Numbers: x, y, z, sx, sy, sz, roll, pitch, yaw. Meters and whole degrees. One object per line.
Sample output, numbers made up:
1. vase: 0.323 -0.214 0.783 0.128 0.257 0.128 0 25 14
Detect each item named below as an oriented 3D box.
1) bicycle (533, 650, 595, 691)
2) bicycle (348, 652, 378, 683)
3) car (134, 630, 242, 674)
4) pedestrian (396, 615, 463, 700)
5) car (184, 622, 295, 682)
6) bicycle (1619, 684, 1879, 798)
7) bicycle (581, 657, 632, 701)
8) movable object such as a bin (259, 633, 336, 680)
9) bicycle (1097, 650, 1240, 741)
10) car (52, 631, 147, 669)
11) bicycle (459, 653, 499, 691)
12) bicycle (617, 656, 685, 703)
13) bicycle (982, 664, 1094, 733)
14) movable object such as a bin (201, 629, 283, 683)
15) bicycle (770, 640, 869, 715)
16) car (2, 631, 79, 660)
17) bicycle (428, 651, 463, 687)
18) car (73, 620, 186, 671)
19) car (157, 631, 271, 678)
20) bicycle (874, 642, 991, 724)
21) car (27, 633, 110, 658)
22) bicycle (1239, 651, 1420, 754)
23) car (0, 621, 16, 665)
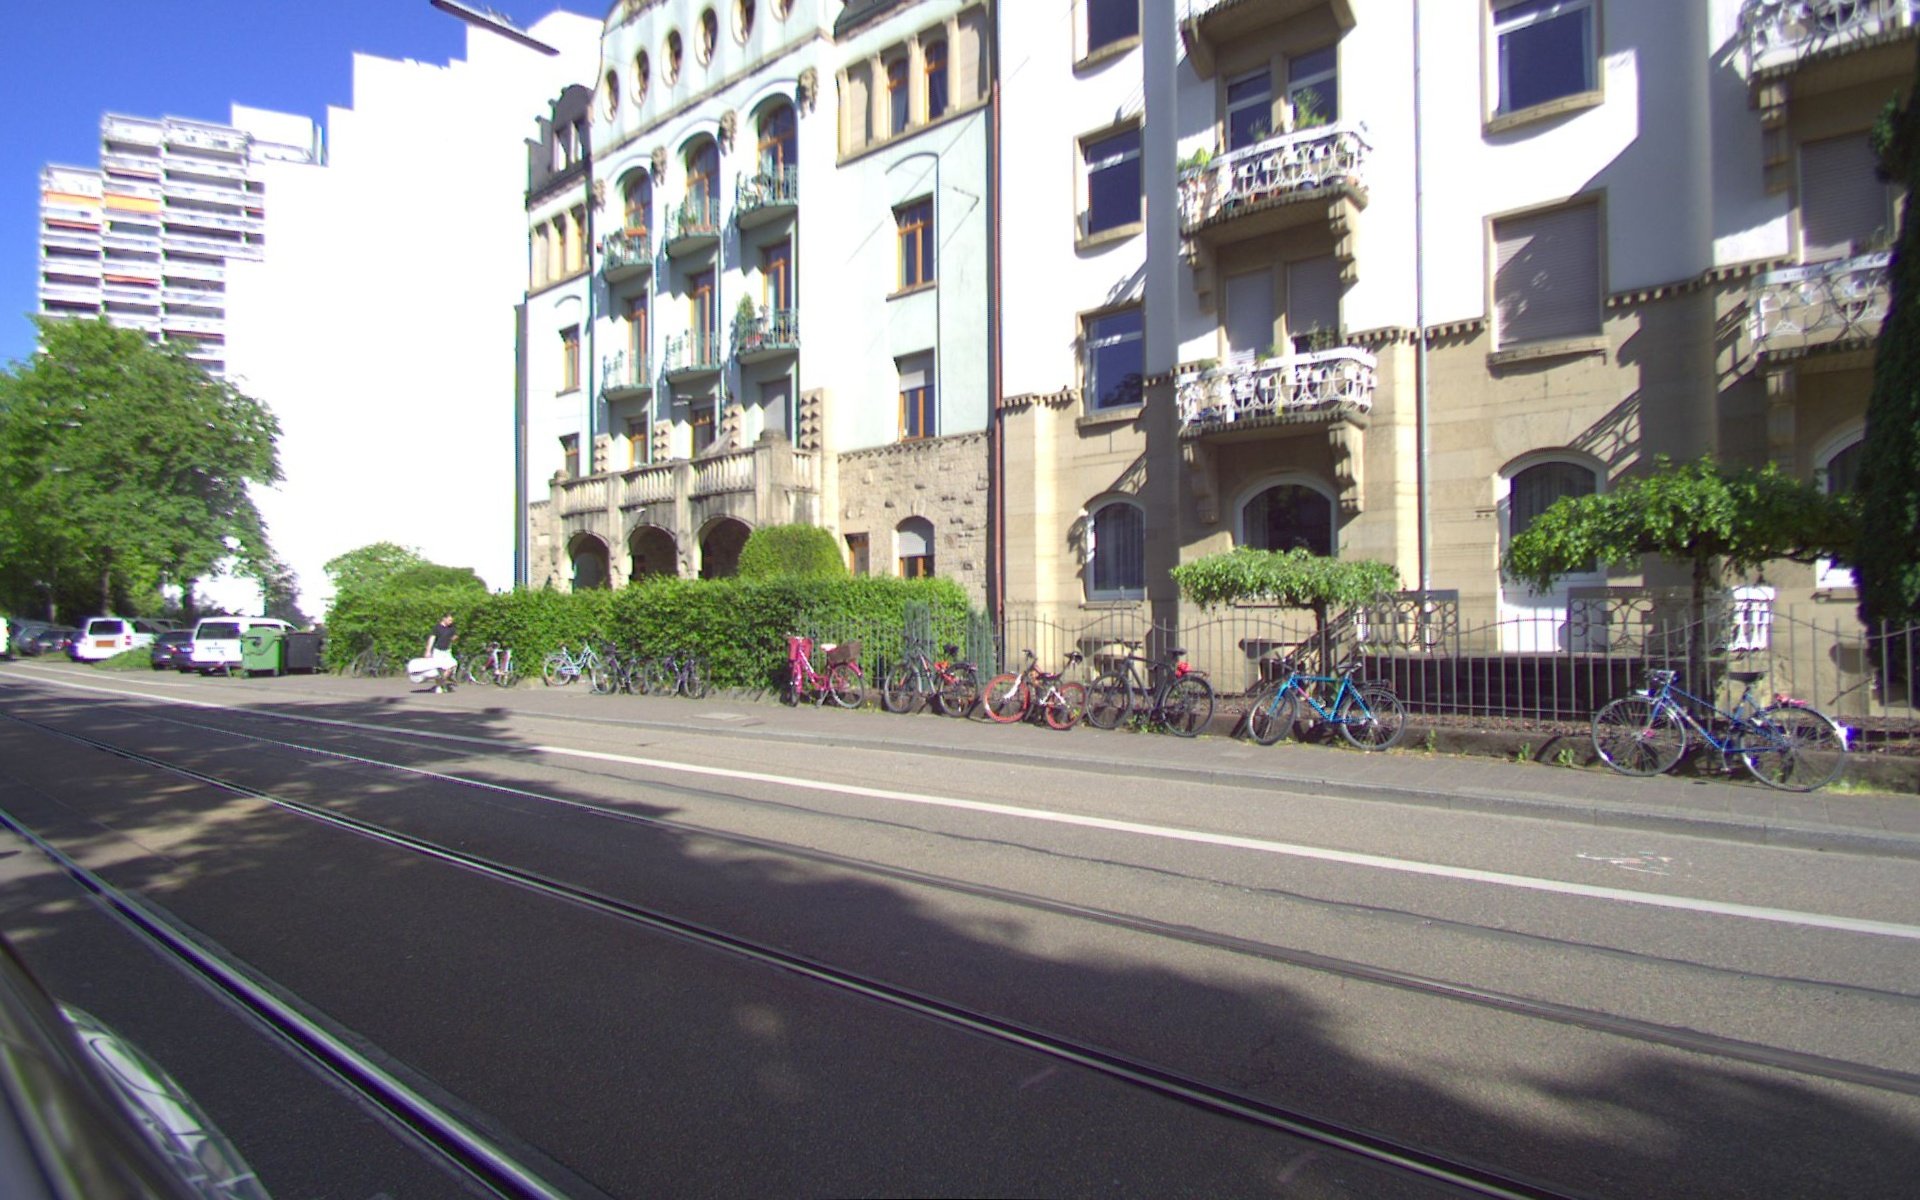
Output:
1. bicycle: -8.574 1.521 21.942 0.297 0.799 1.246 -1 0 41
2. bicycle: -15.644 1.761 26.493 1.263 0.767 0.293 -1 0 41
3. car: -27.689 1.832 36.350 1.451 1.446 2.734 -1 0 24
4. pedestrian: -10.980 1.165 20.934 0.870 1.640 0.858 -1 4 41
5. car: -22.871 1.654 32.253 1.438 1.787 3.189 -1 -3 -5
6. bicycle: 6.412 1.120 8.305 1.651 0.767 0.314 -1 0 41
7. bicycle: -6.723 1.485 19.216 1.263 0.767 0.335 -1 0 41
8. movable object such as a bin: -20.462 1.718 31.261 2.095 1.326 1.482 -1 0 41
9. bicycle: 2.399 1.080 11.782 1.648 0.949 0.400 -1 0 41
10. car: -36.170 2.085 42.590 1.451 1.446 2.734 -1 0 24
11. bicycle: -10.610 1.583 22.323 1.263 0.767 0.314 -1 0 41
12. bicycle: -5.581 1.416 18.240 1.581 0.767 0.400 -1 0 41
13. bicycle: 0.969 1.226 12.857 1.542 0.767 0.314 -1 0 41
14. movable object such as a bin: -20.815 1.590 29.337 2.095 1.443 1.493 -1 0 41
15. bicycle: -2.162 1.156 15.439 1.815 1.031 0.400 -1 0 41
16. car: -48.451 2.379 53.375 1.220 1.436 2.734 -1 0 24
17. bicycle: -11.955 1.600 23.505 1.263 0.767 0.293 -1 0 41
18. car: -33.299 1.795 40.694 1.894 1.885 3.447 -1 0 -4
19. car: -25.132 1.798 34.162 1.451 1.446 2.734 -1 0 24
20. bicycle: -0.407 1.116 14.026 1.815 1.031 0.400 -1 0 41
21. car: -42.928 2.180 48.768 1.220 1.097 2.734 -1 0 24
22. bicycle: 3.830 1.039 10.603 1.748 0.949 0.400 -1 0 41
23. car: -44.453 1.946 46.003 1.968 1.918 4.007 -1 0 -39
